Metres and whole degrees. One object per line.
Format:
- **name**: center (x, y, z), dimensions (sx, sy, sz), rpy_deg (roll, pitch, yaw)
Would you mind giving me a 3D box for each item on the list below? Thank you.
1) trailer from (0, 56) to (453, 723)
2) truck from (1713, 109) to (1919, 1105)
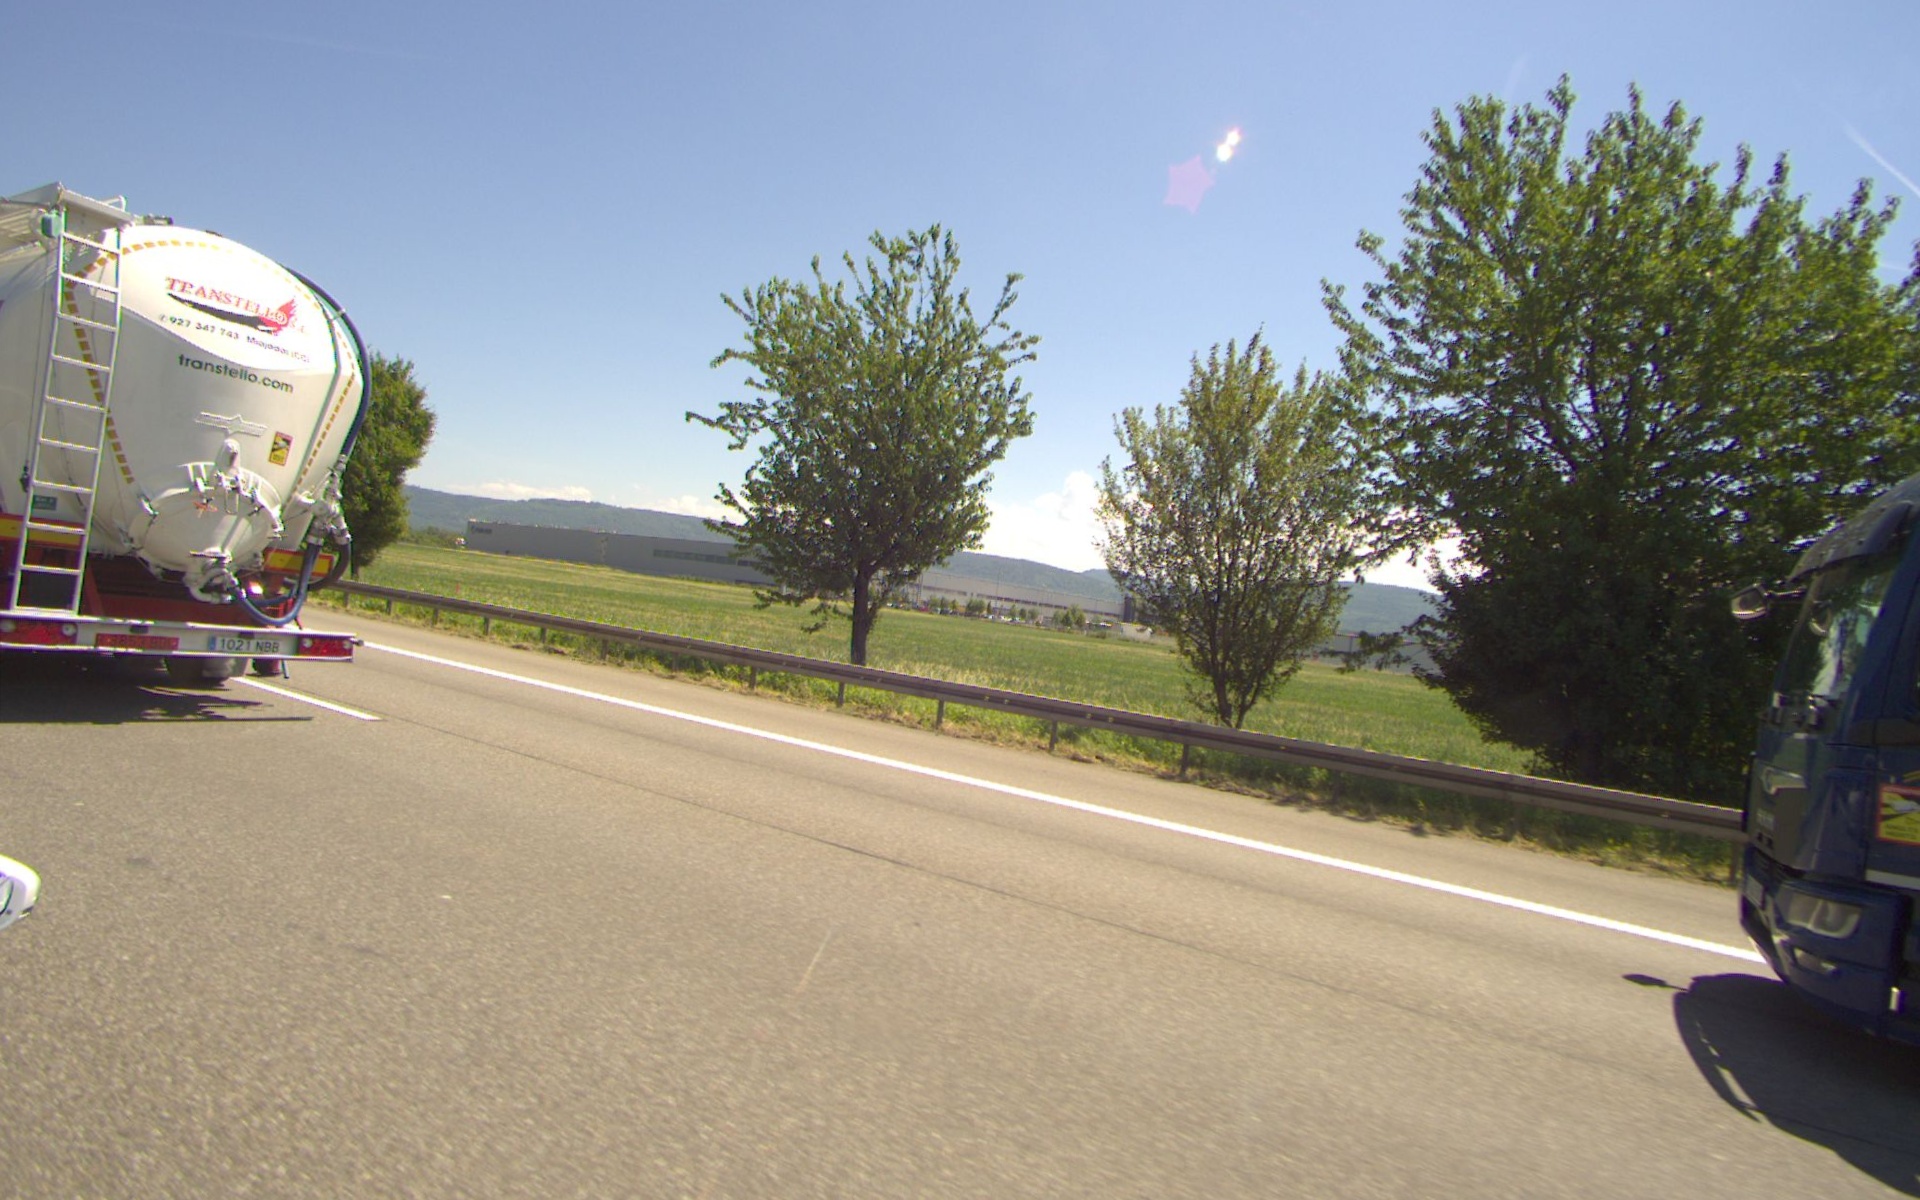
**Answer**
- **trailer**: center (-10.526, -1.813, 10.729), dimensions (12.146, 4.256, 2.794), rpy_deg (7, 0, 31)
- **truck**: center (9.141, 0.584, 2.813), dimensions (10.626, 4.256, 2.794), rpy_deg (7, 0, 31)
